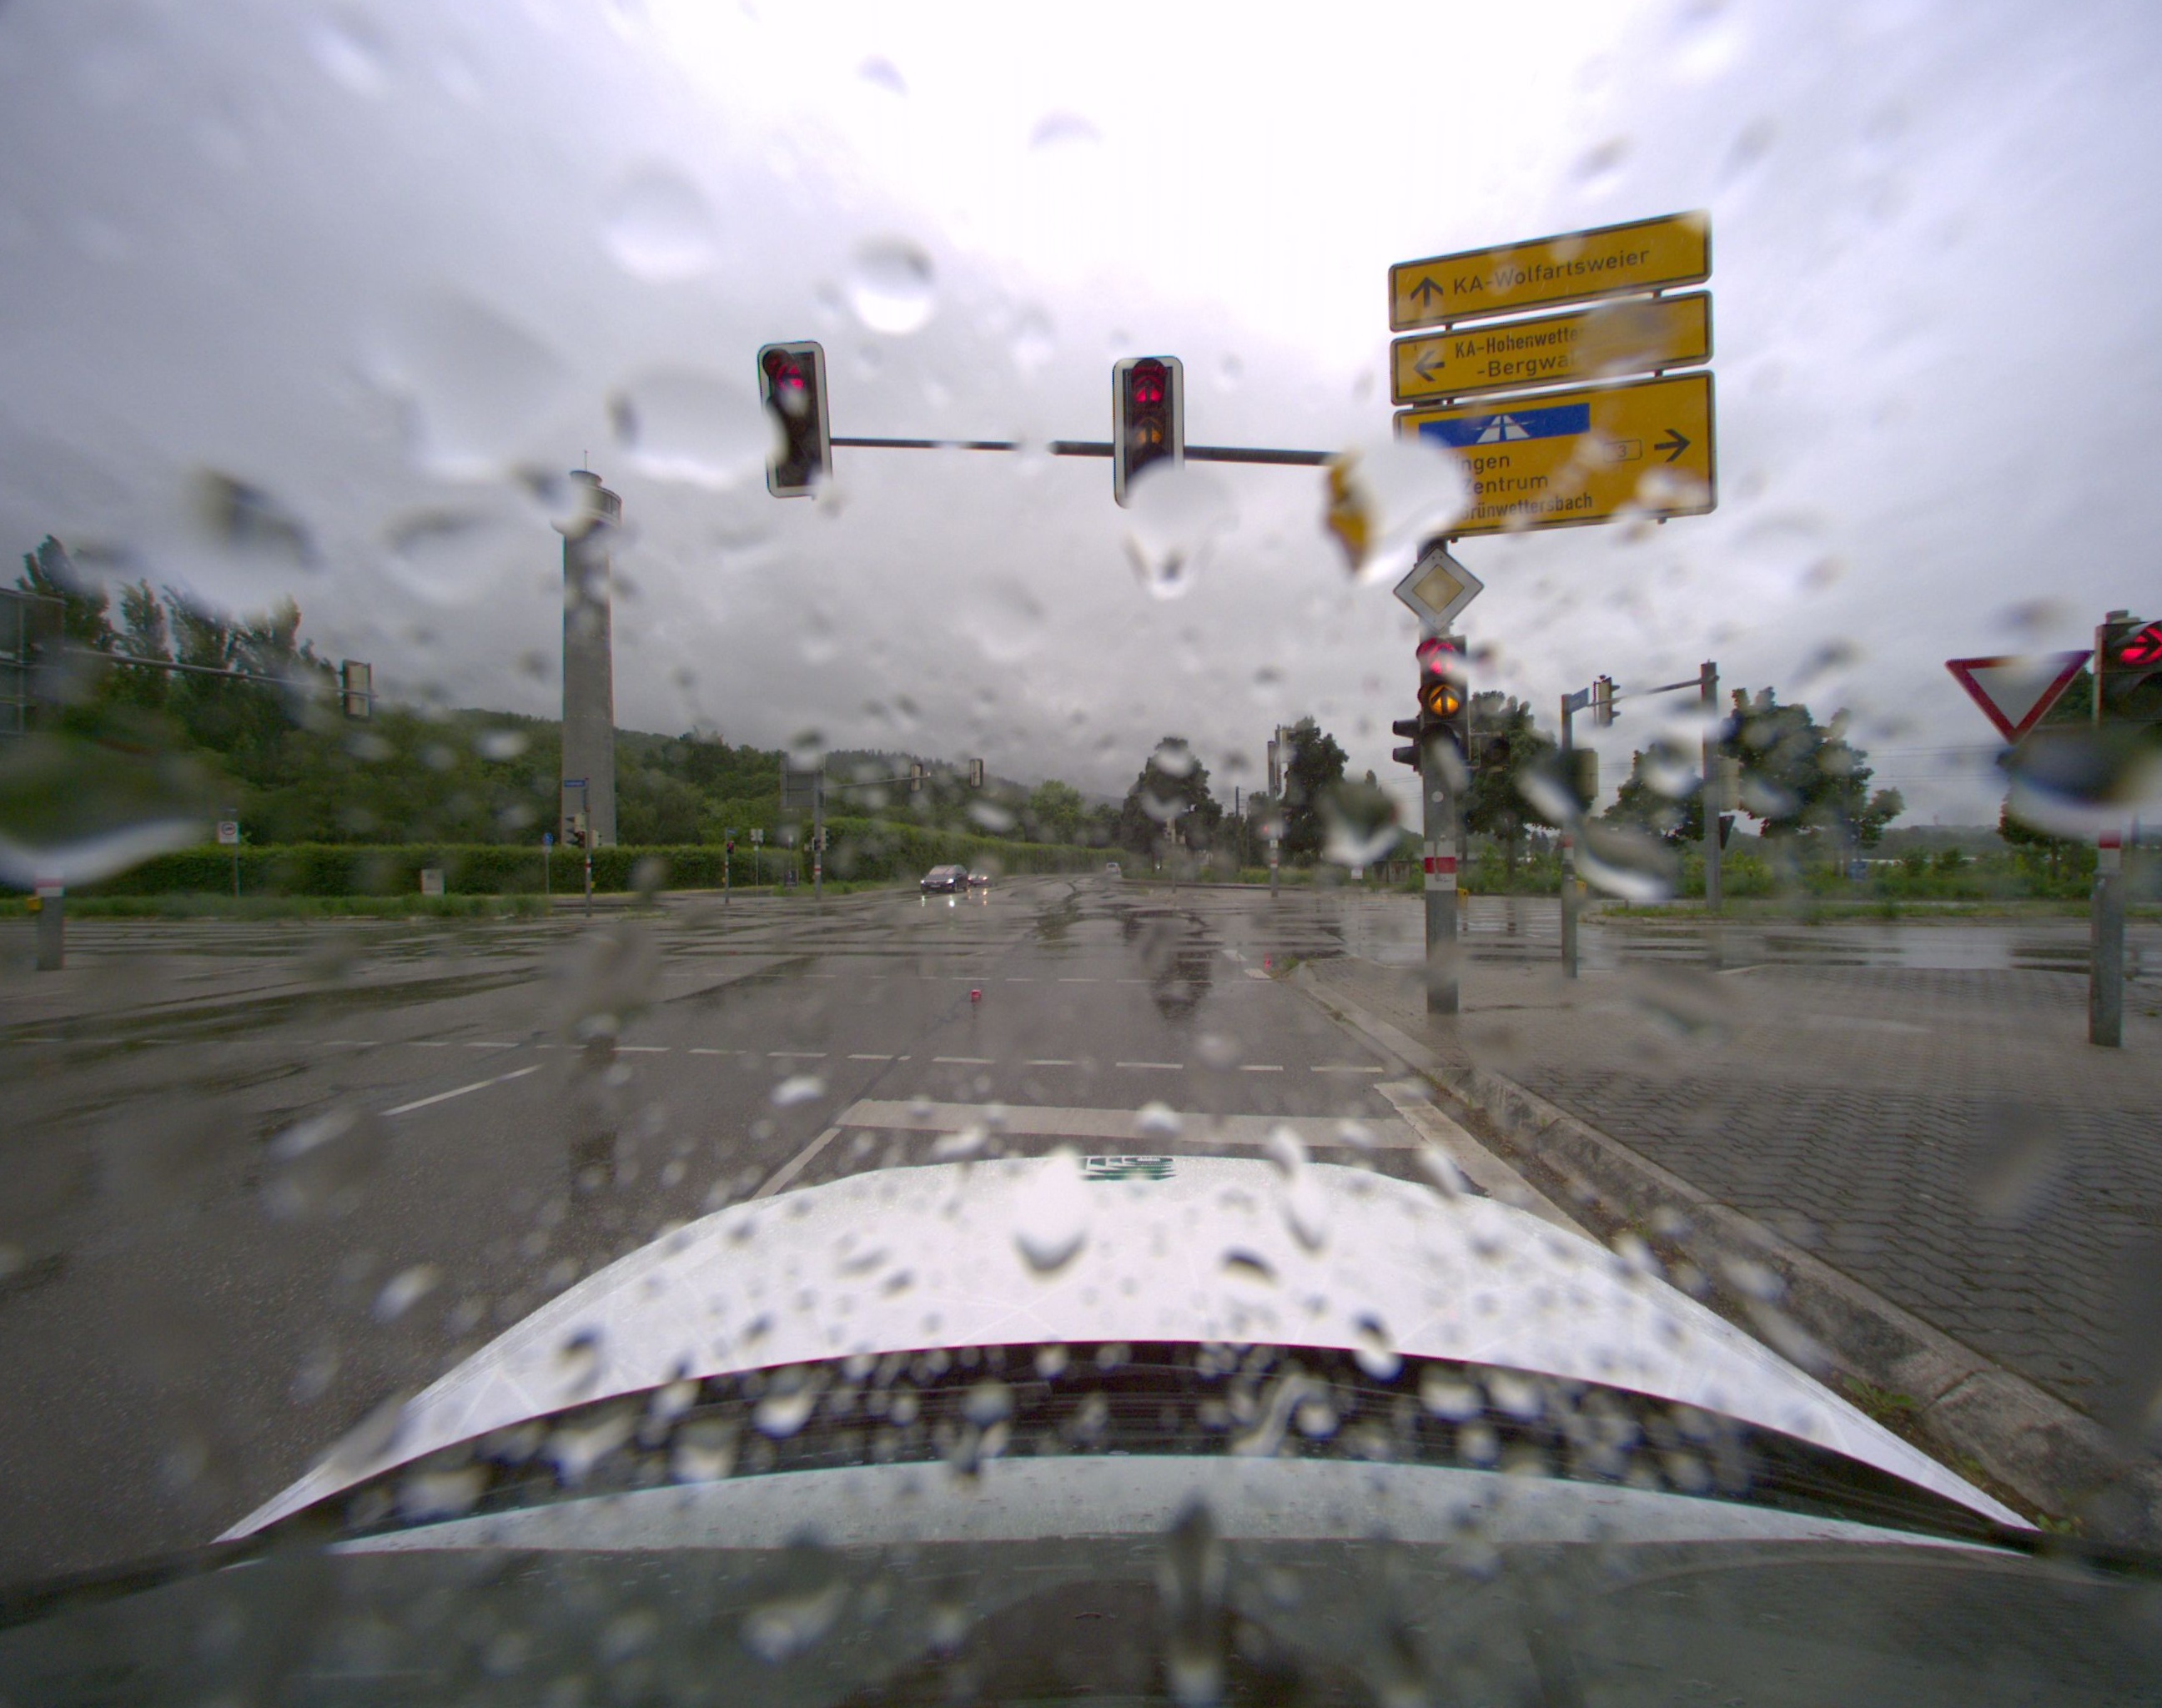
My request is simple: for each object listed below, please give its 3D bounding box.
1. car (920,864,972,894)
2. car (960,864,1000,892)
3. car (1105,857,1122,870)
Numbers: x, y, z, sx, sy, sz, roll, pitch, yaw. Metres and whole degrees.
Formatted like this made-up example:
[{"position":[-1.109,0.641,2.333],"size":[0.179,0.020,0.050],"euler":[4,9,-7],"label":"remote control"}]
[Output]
[{"position":[-7.183,1.304,43.741],"size":[1.701,1.466,4.458],"euler":[-1,0,4],"label":"car"},{"position":[-6.682,1.559,54.195],"size":[2.029,1.708,4.067],"euler":[-1,0,2],"label":"car"},{"position":[5.011,1.487,124.138],"size":[1.941,1.904,4.132],"euler":[-1,0,10],"label":"car"}]
